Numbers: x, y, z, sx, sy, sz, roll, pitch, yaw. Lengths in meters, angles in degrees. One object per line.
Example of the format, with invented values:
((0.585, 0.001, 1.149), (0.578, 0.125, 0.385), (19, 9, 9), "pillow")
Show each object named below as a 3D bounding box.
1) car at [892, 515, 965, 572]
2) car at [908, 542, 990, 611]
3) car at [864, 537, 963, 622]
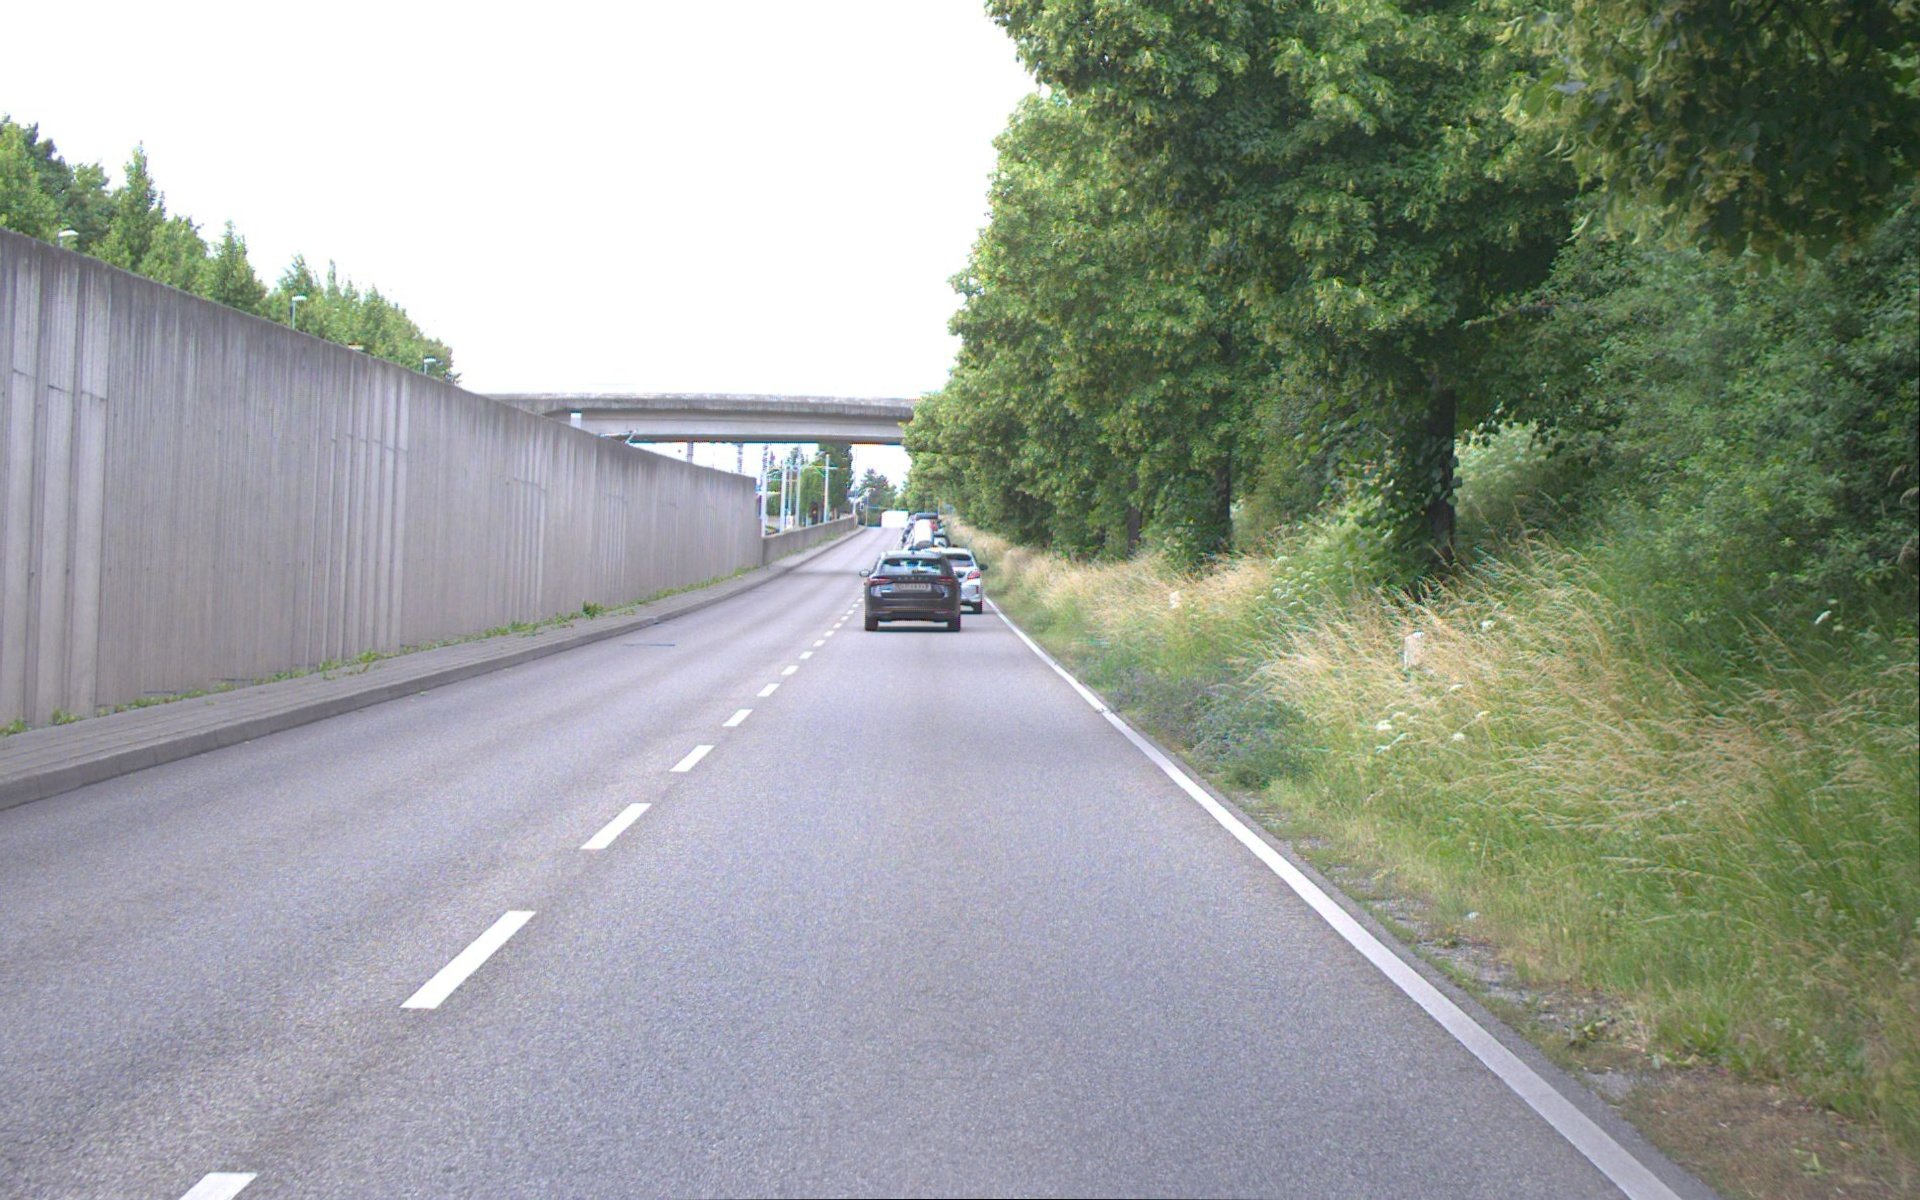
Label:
((-0.935, -1.614, 98.807), (1.866, 1.485, 4.257), (4, 1, -2), "car")
((-0.278, -0.533, 78.572), (1.754, 1.518, 4.037), (-1, 0, -1), "car")
((-0.867, -0.399, 63.566), (1.754, 1.518, 4.037), (0, 1, -1), "car")
